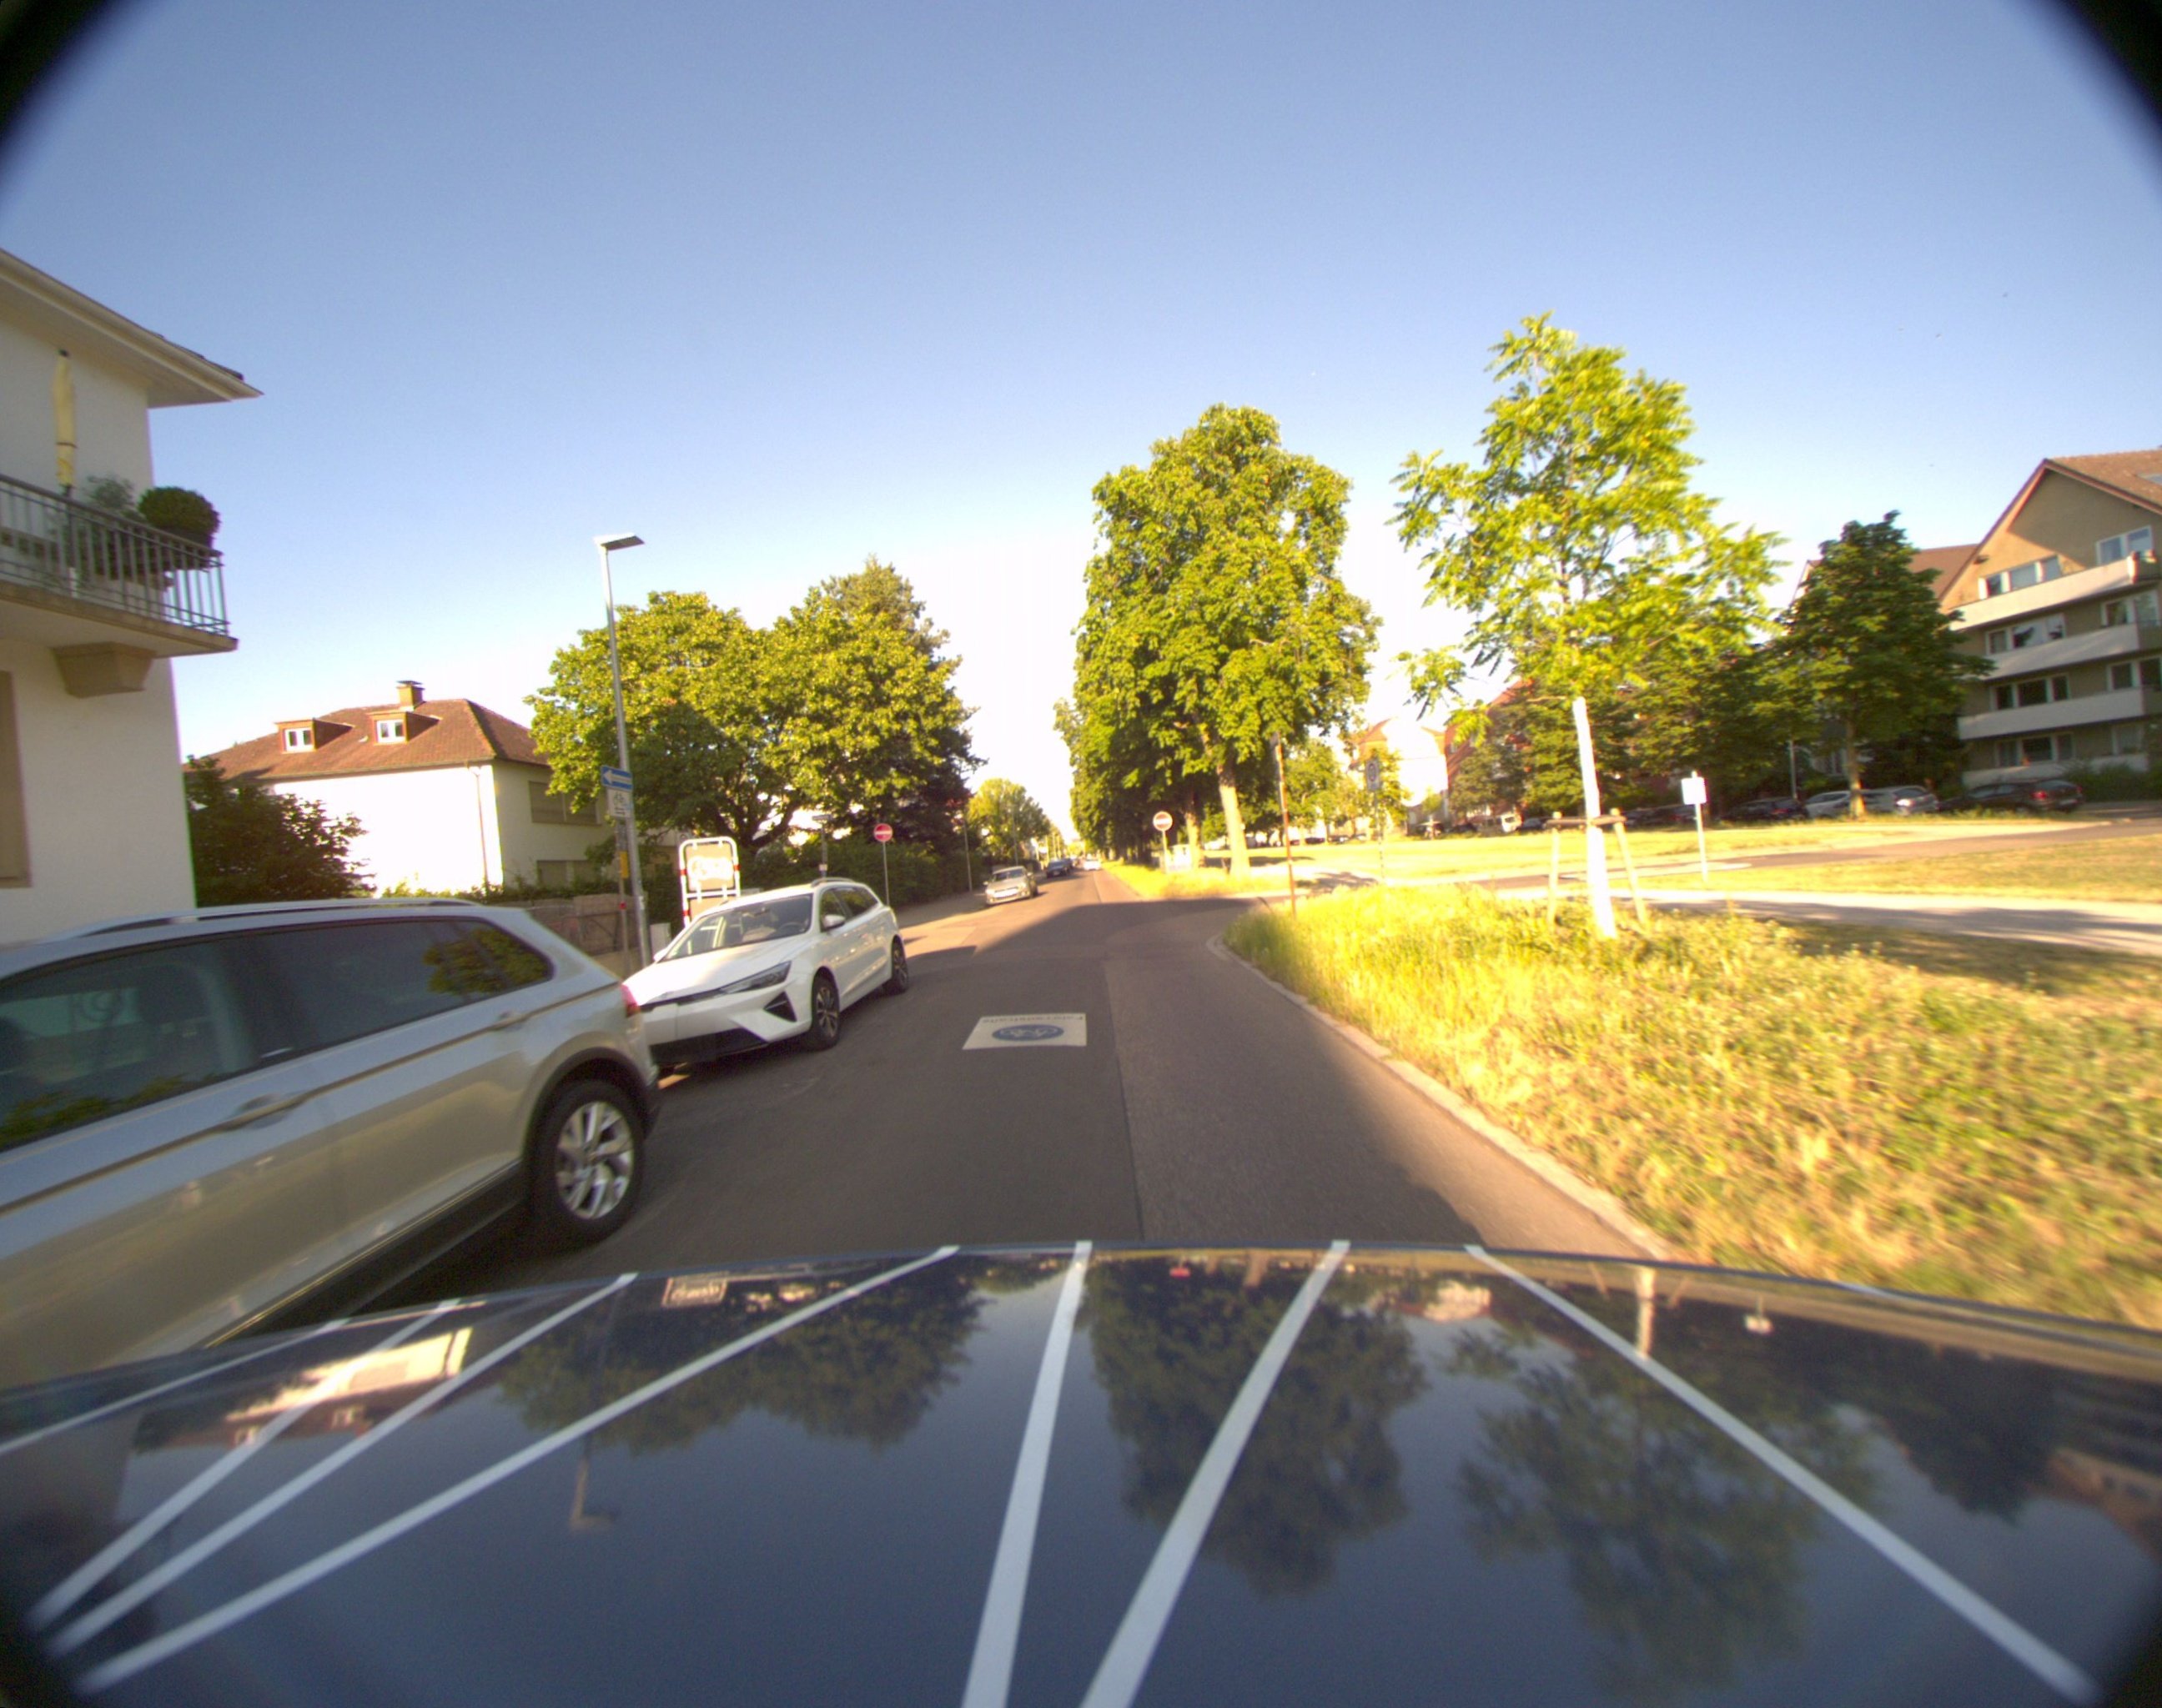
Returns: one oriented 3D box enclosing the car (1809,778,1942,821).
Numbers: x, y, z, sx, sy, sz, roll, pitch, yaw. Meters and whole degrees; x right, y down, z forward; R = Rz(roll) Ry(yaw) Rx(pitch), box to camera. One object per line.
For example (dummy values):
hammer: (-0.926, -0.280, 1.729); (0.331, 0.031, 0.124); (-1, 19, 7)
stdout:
car: (33.966, -2.276, 32.628); (1.692, 1.399, 3.642); (-5, 0, -4)

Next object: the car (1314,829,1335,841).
car: (40.255, -3.073, 125.592); (1.999, 1.872, 3.998); (-2, 1, -2)

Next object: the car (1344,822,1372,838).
car: (35.041, -2.973, 96.129); (1.998, 1.692, 4.000); (-5, 0, 1)

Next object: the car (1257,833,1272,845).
car: (35.634, -2.845, 147.324); (1.998, 2.002, 4.001); (-5, 0, 3)

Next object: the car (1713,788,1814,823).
car: (34.068, -2.377, 38.059); (1.560, 1.360, 3.642); (-5, 0, -4)

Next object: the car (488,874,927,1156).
car: (-3.194, 1.242, 7.843); (1.880, 1.525, 4.589); (-11, 1, 2)

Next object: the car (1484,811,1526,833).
car: (40.633, -3.037, 72.877); (1.998, 2.002, 4.000); (0, 2, 3)

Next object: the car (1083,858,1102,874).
car: (1.226, 1.321, 84.037); (1.998, 1.483, 3.999); (-2, 1, 1)

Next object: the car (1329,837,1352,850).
car: (40.885, -1.639, 119.782); (1.999, 1.895, 3.999); (-5, 0, -2)

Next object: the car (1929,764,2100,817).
car: (34.333, -2.293, 28.127); (1.894, 1.513, 3.681); (-5, 0, 6)

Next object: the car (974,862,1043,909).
car: (-2.879, 1.212, 31.104); (2.111, 1.396, 4.132); (-11, 0, 1)

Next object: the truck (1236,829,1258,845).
truck: (35.523, -3.611, 163.039); (2.785, 3.128, 7.710); (-5, 0, -1)

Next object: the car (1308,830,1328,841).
car: (40.896, -3.215, 131.160); (1.999, 1.834, 3.998); (-2, 1, -2)

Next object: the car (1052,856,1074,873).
car: (-1.910, 1.103, 82.293); (1.998, 1.624, 4.000); (-5, 0, 1)

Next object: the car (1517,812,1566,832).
car: (40.509, -2.760, 66.914); (1.998, 1.596, 4.000); (-2, 1, 3)

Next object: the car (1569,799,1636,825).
car: (33.840, -2.714, 49.407); (1.560, 1.323, 3.642); (-5, 0, -4)

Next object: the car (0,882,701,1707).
car: (-3.139, 1.177, 1.935); (1.806, 1.639, 4.583); (-11, 1, -1)

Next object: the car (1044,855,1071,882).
car: (-2.062, 1.264, 68.140); (1.998, 2.179, 4.001); (-5, 0, 1)

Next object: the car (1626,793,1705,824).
car: (34.077, -2.610, 44.403); (1.560, 1.408, 3.642); (-5, 0, -4)

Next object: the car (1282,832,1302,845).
car: (35.225, -2.606, 127.127); (2.125, 2.002, 3.999); (-2, 1, -1)

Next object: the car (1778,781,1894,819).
car: (40.060, -2.838, 40.449); (1.999, 1.490, 3.999); (-5, 0, -4)
